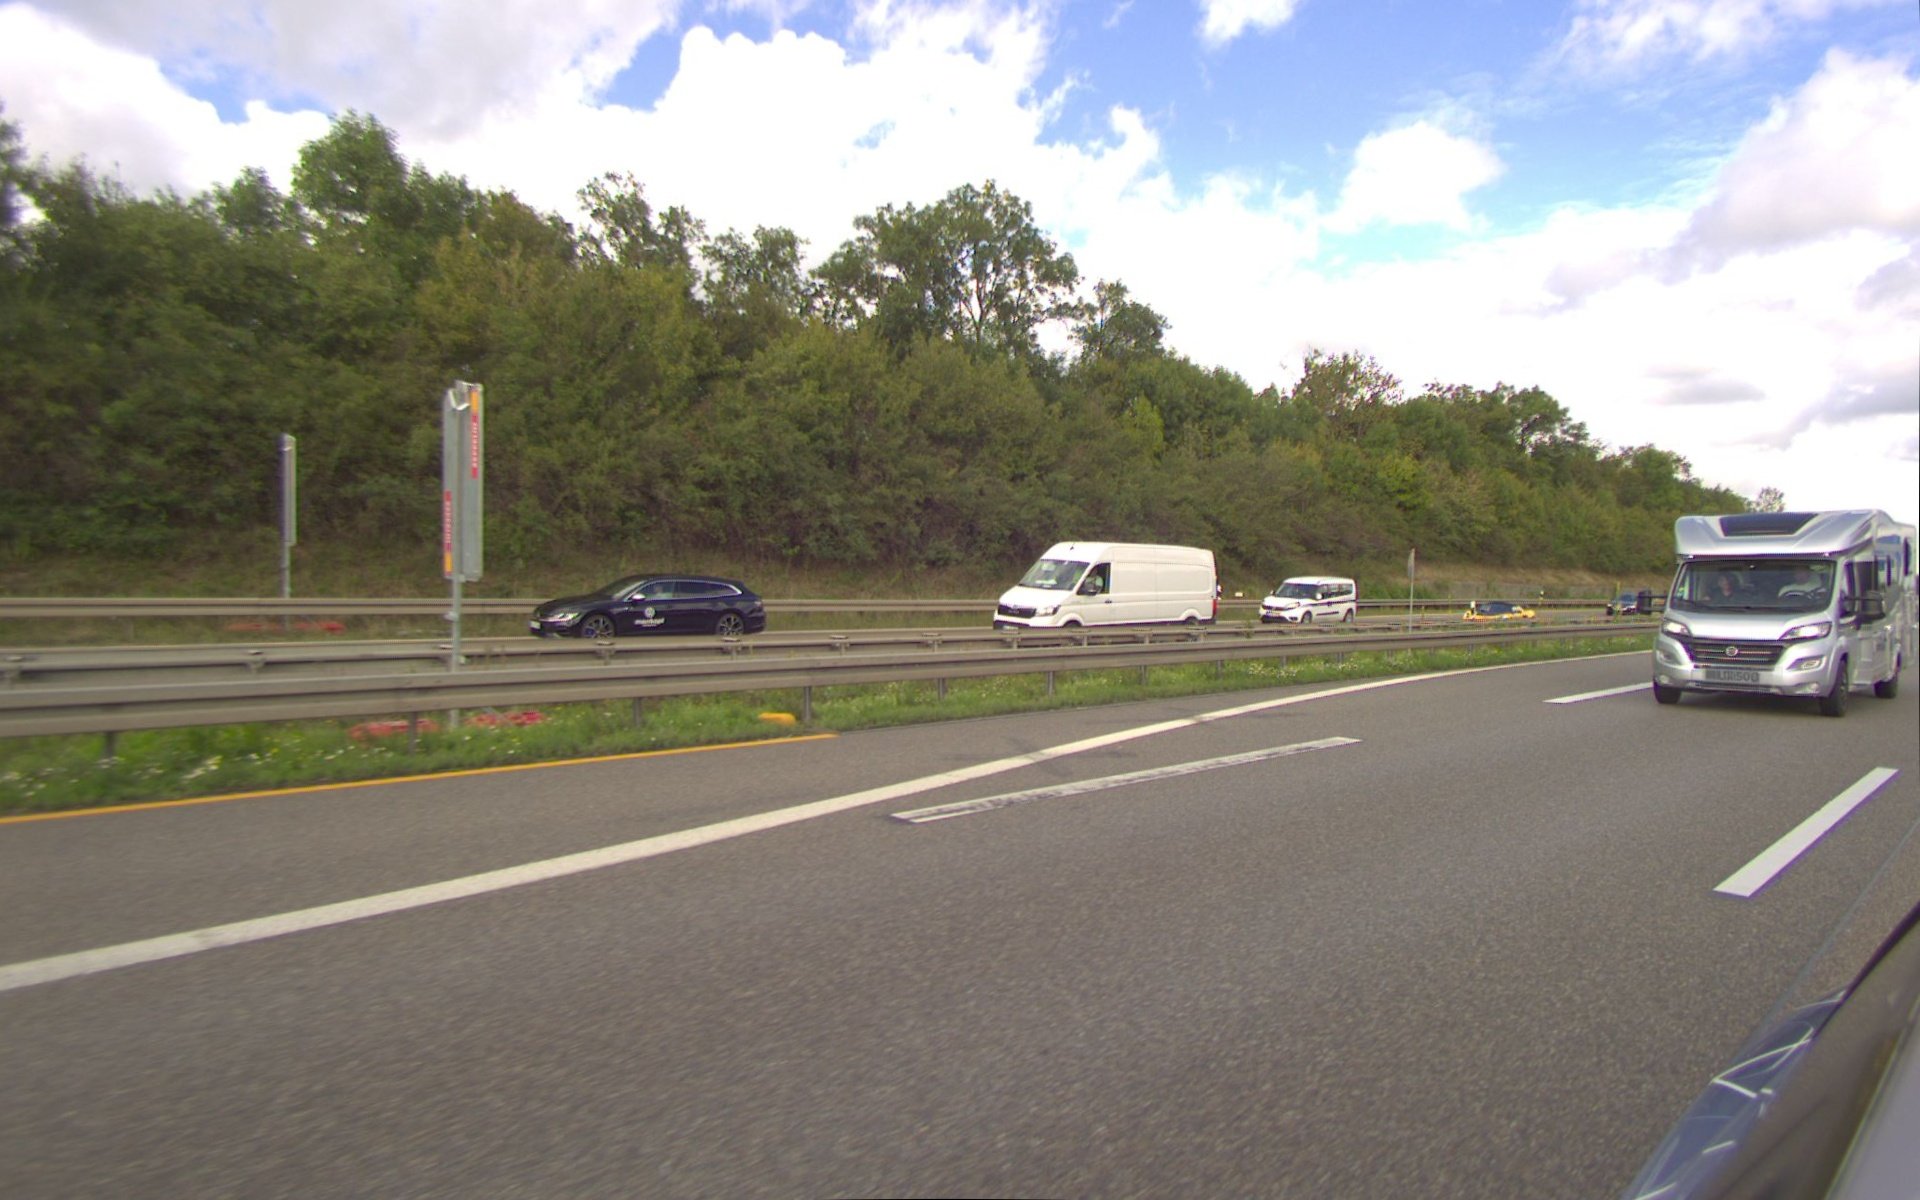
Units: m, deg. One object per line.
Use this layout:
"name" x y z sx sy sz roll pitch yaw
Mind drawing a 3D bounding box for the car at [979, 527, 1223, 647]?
"car" 3.635 -0.302 24.845 6.625 2.586 2.074 0 2 -41

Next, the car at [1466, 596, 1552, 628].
"car" 21.933 0.448 40.379 4.096 1.196 1.714 0 1 -42

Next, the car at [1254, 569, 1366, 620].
"car" 13.060 -0.201 37.602 4.680 1.774 1.846 0 0 -41

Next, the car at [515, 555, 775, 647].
"car" -6.300 -0.002 20.596 4.682 1.622 1.847 0 3 -42

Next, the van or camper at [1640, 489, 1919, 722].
"van or camper" 12.938 0.049 15.403 7.528 2.756 2.473 0 0 -41

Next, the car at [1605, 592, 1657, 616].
"car" 43.294 0.248 65.286 4.095 1.433 1.715 0 1 -41
